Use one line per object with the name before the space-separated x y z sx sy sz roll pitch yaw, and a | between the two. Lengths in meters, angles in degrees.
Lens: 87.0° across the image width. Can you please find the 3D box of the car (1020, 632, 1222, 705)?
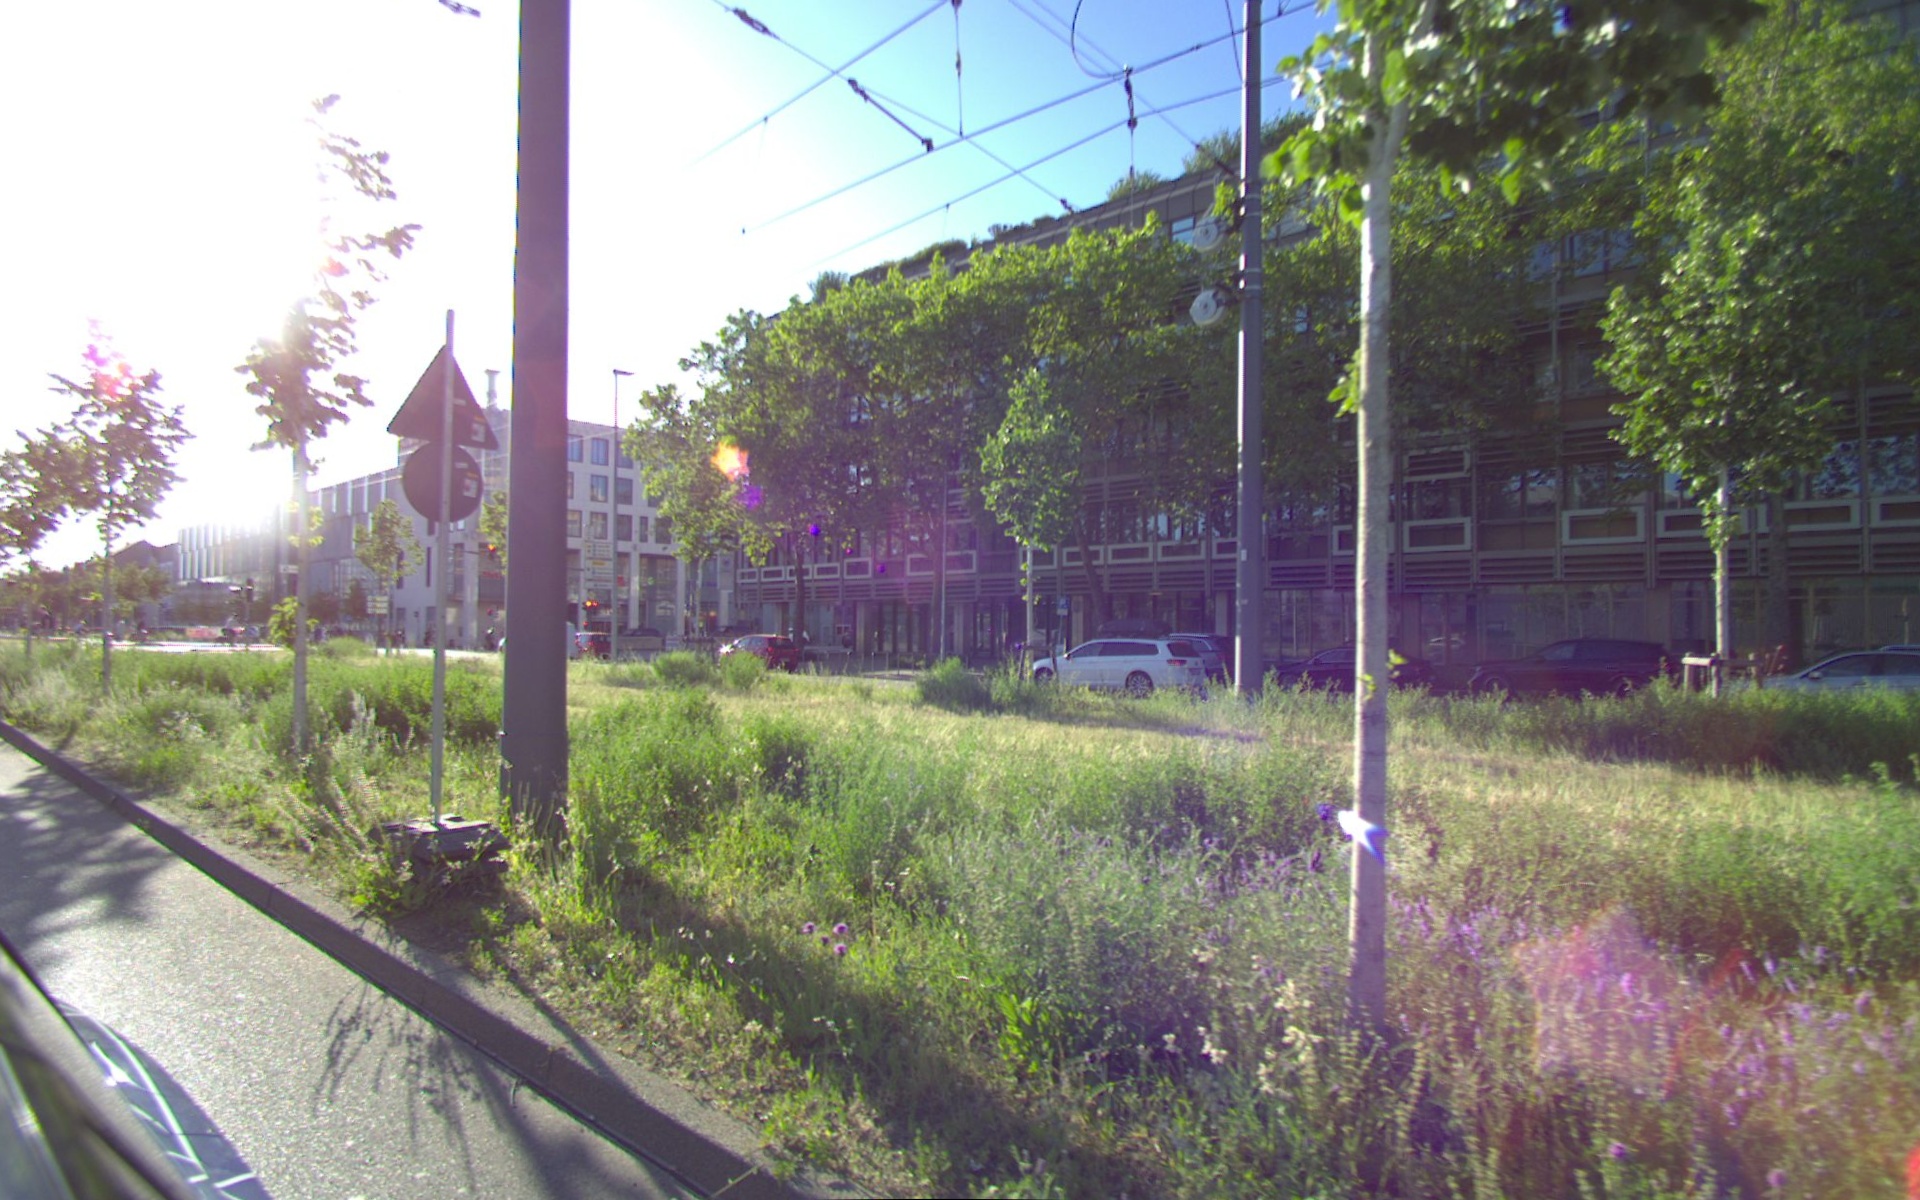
car | 3.879 1.600 24.972 4.690 1.606 1.821 -1 -2 41

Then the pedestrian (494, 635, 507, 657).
pedestrian | -38.200 3.814 84.163 0.753 1.753 0.745 -2 -3 45

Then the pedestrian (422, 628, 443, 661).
pedestrian | -28.315 2.378 54.297 0.857 1.757 0.729 -2 -2 39

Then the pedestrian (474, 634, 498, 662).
pedestrian | -26.968 2.733 57.586 0.897 1.561 0.912 -2 -1 37

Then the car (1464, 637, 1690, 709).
car | 15.341 1.749 25.326 4.620 1.569 1.726 -1 -1 40

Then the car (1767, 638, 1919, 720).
car | 20.014 1.681 21.460 4.363 1.645 1.889 -2 -5 44

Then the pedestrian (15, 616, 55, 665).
pedestrian | -37.075 1.626 40.555 1.014 1.925 1.036 -1 -2 40

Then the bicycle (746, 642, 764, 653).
bicycle | -20.974 4.883 103.455 0.650 1.119 2.479 2 -3 -41

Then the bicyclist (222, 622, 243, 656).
bicyclist | -37.225 1.988 51.776 0.774 1.682 0.702 2 -3 -40

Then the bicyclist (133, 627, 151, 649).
bicyclist | -57.306 2.649 70.922 0.927 1.556 0.649 1 -2 -44

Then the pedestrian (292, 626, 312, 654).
pedestrian | -52.185 3.165 80.325 0.888 2.140 0.944 0 -2 8

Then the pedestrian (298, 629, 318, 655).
pedestrian | -53.016 3.404 82.300 0.888 2.140 0.945 0 -2 7

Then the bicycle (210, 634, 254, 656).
bicycle | -37.231 2.299 51.773 1.772 1.102 0.710 2 -3 -40

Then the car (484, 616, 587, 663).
car | -19.982 1.840 47.517 5.709 2.029 2.234 -2 -5 43

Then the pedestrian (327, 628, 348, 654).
pedestrian | -50.468 3.313 82.043 0.907 2.029 1.020 0 -2 10

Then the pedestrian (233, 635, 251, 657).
pedestrian | -54.085 3.446 76.181 0.944 1.583 0.831 -1 -2 37

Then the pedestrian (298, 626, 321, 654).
pedestrian | -50.898 3.128 79.171 1.049 2.145 1.097 0 -2 3

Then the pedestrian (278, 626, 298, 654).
pedestrian | -52.044 3.092 78.359 0.886 2.140 0.946 0 -2 1

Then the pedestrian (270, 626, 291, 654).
pedestrian | -53.120 3.113 79.149 0.889 2.140 0.943 0 -2 13

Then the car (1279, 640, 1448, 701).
car | 11.402 1.942 28.734 4.002 1.532 1.971 -2 -2 45

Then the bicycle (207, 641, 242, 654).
bicycle | -56.472 3.655 77.694 0.805 0.934 2.048 -1 -2 42

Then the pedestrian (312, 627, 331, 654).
pedestrian | -52.035 3.310 82.502 0.889 2.140 0.943 0 -2 11

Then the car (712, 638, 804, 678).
car | -8.067 2.303 40.289 3.573 1.464 1.693 -1 -5 40

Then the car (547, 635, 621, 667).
car | -18.720 2.537 50.347 3.879 1.497 1.820 -2 -6 42

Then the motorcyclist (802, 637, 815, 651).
motorcyclist | -16.012 4.660 107.129 1.039 1.482 0.904 0 -2 41

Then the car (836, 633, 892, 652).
car | -8.579 3.770 90.875 4.720 1.675 2.203 2 -3 -44

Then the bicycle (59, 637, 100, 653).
bicycle | -59.582 3.043 68.510 2.043 0.986 0.807 1 -1 -38

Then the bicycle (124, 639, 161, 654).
bicycle | -57.293 3.236 70.904 1.949 1.004 0.649 1 -2 -44

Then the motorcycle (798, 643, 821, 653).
motorcycle | -15.951 5.062 107.074 2.675 1.003 0.904 0 -1 41

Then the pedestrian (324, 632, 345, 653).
pedestrian | -49.370 3.352 79.852 0.994 1.663 0.948 0 -2 2

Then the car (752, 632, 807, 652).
car | -16.408 3.787 92.186 4.479 1.725 2.129 2 -1 -39

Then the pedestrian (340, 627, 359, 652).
pedestrian | -50.363 3.269 83.502 0.906 2.029 1.021 0 -2 7

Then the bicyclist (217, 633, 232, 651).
bicyclist | -56.480 3.240 77.703 0.805 1.367 0.830 -1 -2 43

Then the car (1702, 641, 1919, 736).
car | 16.014 1.536 17.849 4.581 1.527 1.739 -1 -3 42

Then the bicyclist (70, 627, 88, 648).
bicyclist | -59.623 2.507 68.506 0.829 1.412 0.807 1 -2 -38
